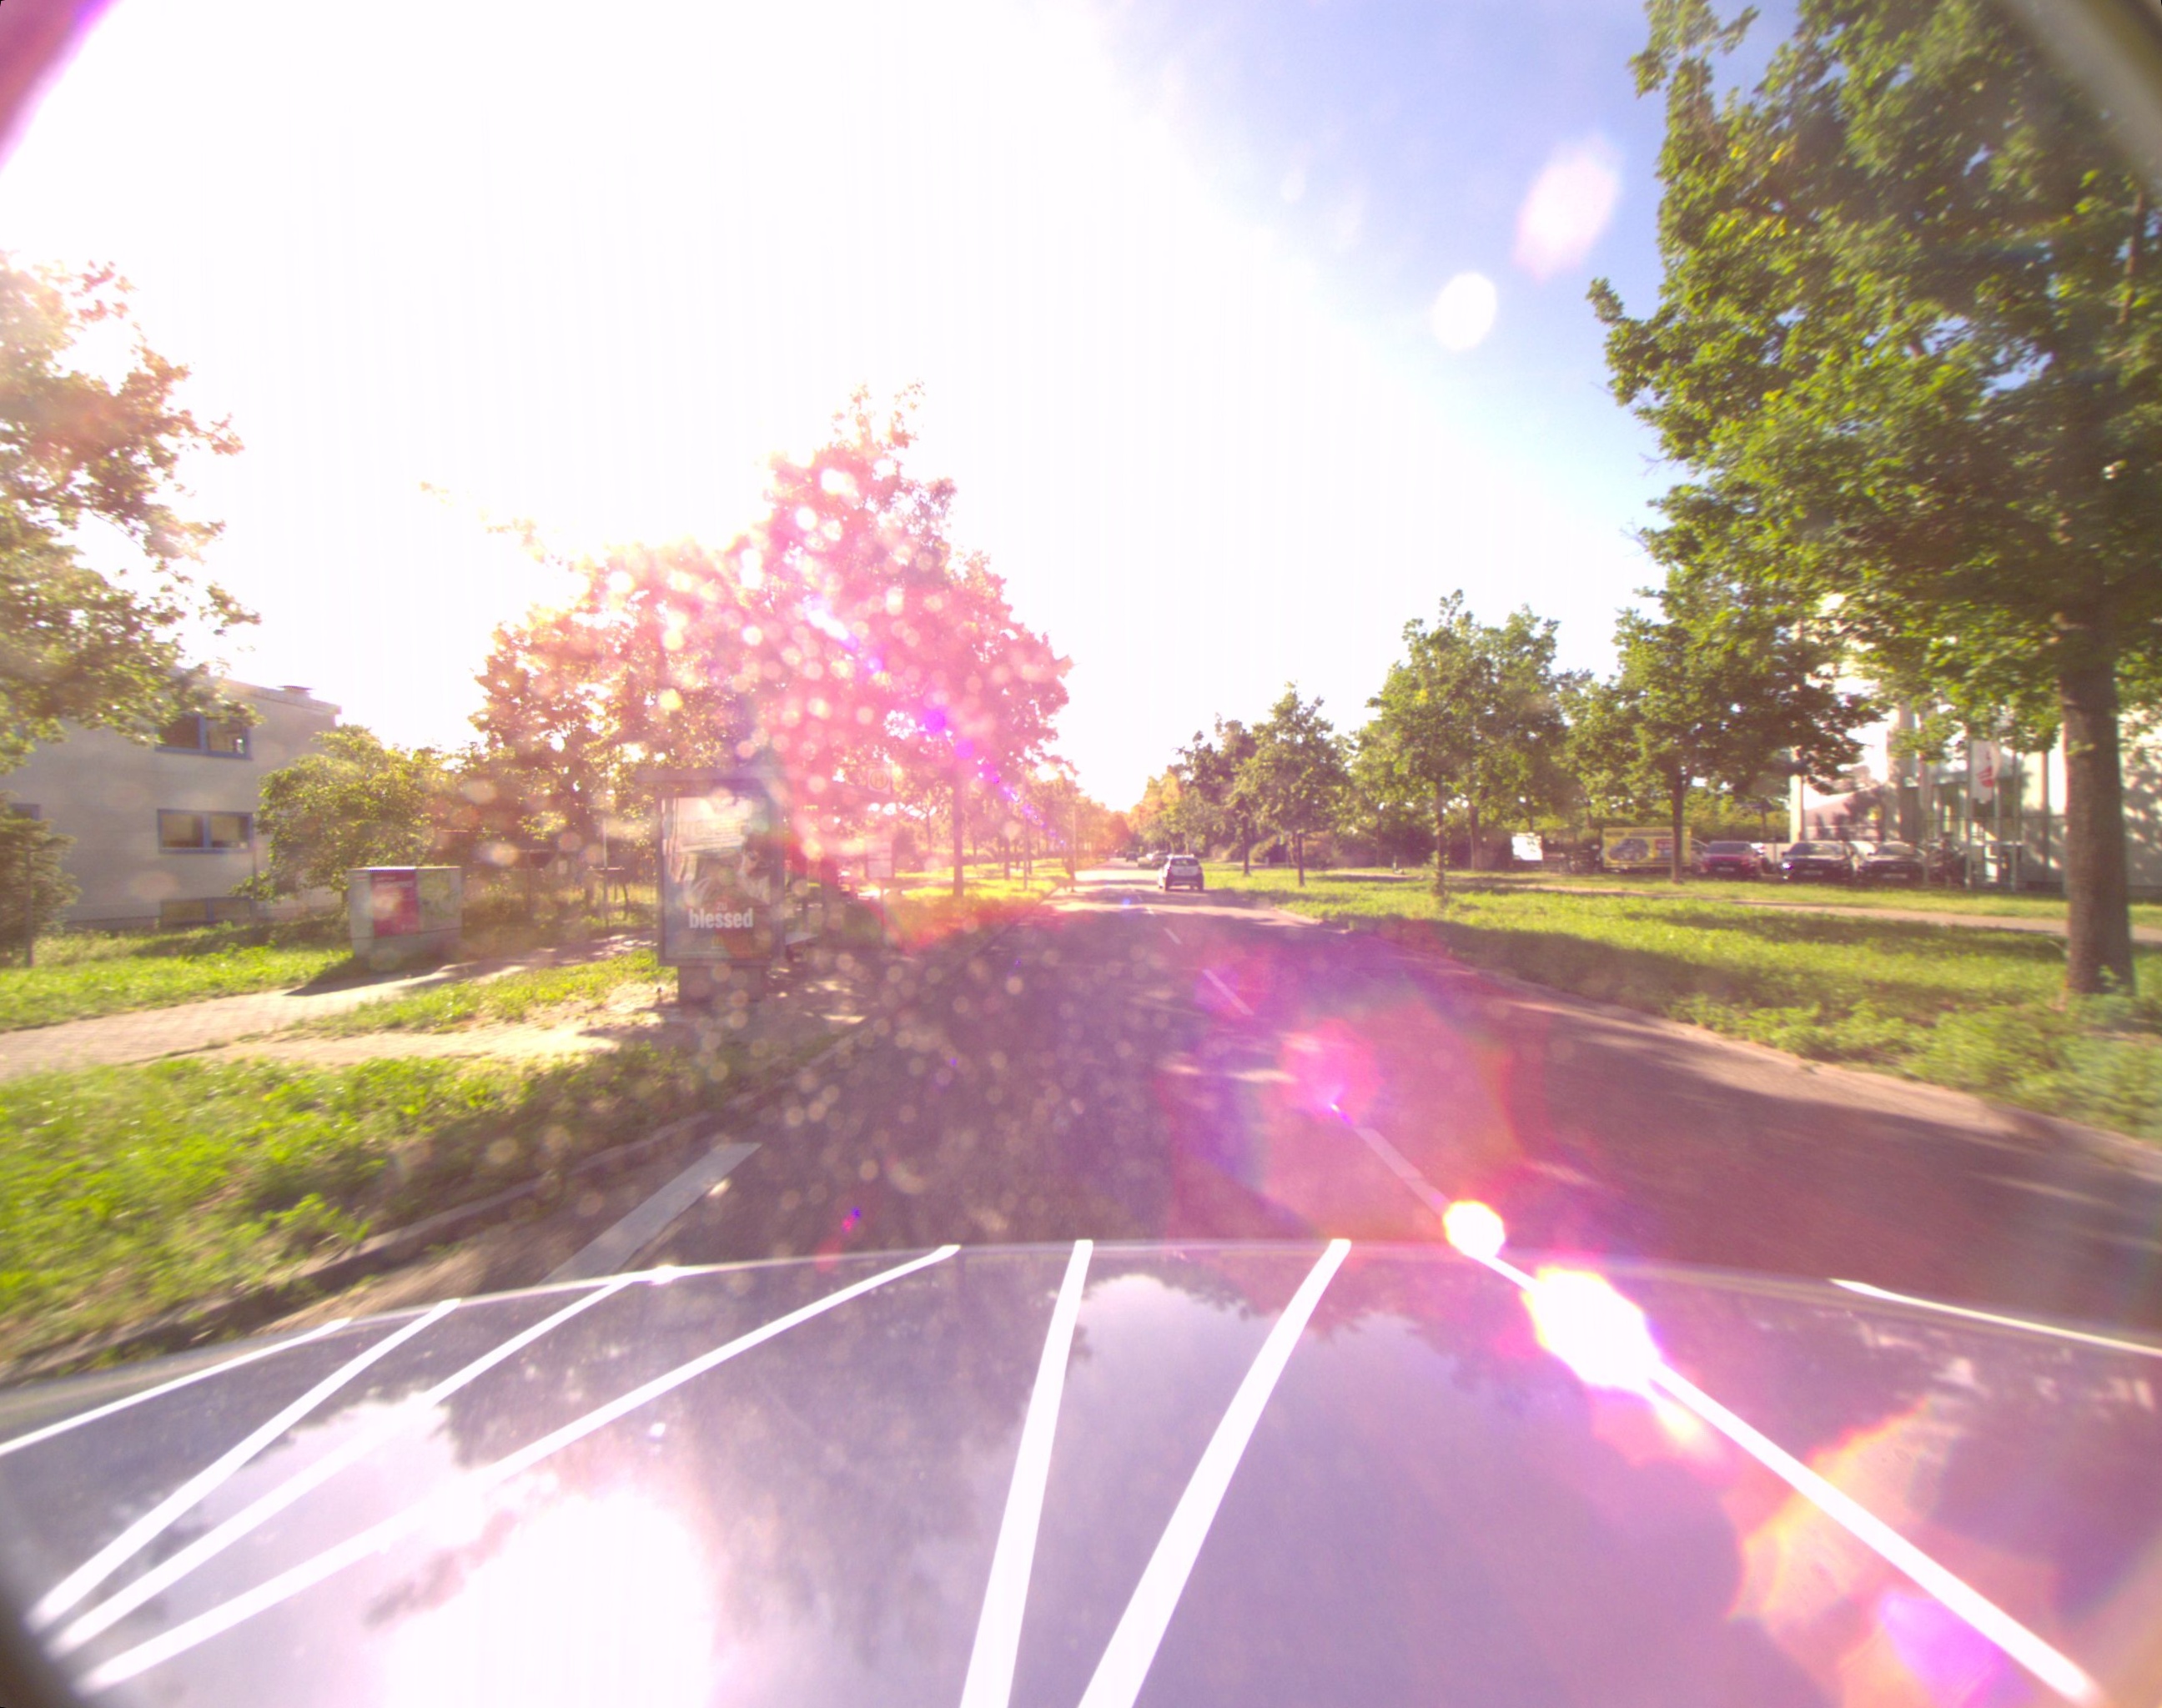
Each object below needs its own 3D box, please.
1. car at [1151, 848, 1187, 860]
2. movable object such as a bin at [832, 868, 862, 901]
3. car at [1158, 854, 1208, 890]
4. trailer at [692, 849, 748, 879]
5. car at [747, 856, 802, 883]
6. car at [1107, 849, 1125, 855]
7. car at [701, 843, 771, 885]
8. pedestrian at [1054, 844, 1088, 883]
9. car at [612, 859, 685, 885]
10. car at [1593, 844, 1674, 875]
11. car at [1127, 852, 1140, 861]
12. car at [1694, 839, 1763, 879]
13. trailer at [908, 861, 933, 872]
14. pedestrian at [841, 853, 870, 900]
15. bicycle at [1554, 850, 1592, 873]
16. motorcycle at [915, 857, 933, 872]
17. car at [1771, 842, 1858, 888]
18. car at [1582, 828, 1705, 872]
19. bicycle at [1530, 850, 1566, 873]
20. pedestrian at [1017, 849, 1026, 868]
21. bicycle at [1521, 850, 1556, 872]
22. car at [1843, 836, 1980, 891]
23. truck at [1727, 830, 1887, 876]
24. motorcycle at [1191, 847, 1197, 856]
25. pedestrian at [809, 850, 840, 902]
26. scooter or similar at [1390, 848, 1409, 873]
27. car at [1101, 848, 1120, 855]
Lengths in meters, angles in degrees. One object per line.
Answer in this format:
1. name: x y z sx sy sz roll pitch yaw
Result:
1. car: 12.151 -0.004 105.026 4.638 1.549 2.191 -3 0 0
2. movable object such as a bin: -7.997 1.040 25.946 0.727 1.075 0.867 1 1 1
3. car: 4.338 0.720 32.928 1.748 1.456 4.428 0 0 3
4. trailer: -29.892 0.803 62.999 2.192 2.294 3.793 -1 1 14
5. car: -19.868 0.959 49.446 2.010 1.654 3.597 -1 0 2
6. car: 8.942 -0.502 196.254 4.510 1.471 1.942 -1 1 6
7. car: -22.512 0.613 49.810 2.165 2.628 4.851 -1 0 2
8. pedestrian: -0.429 0.411 32.664 1.101 1.642 1.020 -1 1 -26
9. car: -29.489 1.201 51.977 1.836 1.630 4.006 -1 0 23
10. car: 27.514 0.252 37.994 1.798 1.440 4.003 -1 0 12
11. car: 8.459 0.386 122.393 1.809 1.528 4.495 0 0 1
12. car: 25.520 0.173 29.894 1.796 1.440 4.008 0 1 44
13. trailer: -15.340 1.162 72.724 1.581 0.864 2.055 -1 4 14
14. pedestrian: -7.957 0.784 26.831 0.727 1.594 0.867 -1 1 1
15. bicycle: 23.946 0.342 37.024 0.641 1.081 1.891 -1 0 1
16. motorcycle: -14.611 0.970 70.743 0.663 1.225 2.407 -1 5 14
17. car: 25.379 0.337 26.255 4.008 1.440 1.796 -1 1 -41
18. car: 25.784 -0.167 34.968 4.023 1.773 2.027 -3 0 13
19. bicycle: 22.958 0.358 37.362 0.641 1.081 1.891 -1 0 1
20. pedestrian: -5.657 0.444 71.722 0.727 1.802 0.867 -1 1 1
21. bicycle: 23.313 0.342 38.758 0.641 1.081 1.891 -1 0 1
22. car: 25.147 0.262 22.998 4.005 1.502 1.797 -1 -1 -27
23. truck: 31.862 -0.046 33.492 4.682 1.773 2.027 -3 0 13
24. motorcycle: 18.627 -0.480 125.361 0.739 1.424 1.991 -5 0 5
25. pedestrian: -8.753 0.740 25.961 0.727 1.745 0.867 -1 1 1
26. scooter or similar: 16.662 0.348 39.759 0.396 1.272 1.441 -1 1 3
27. car: 7.115 -0.560 182.650 4.510 1.471 1.942 -1 1 6
